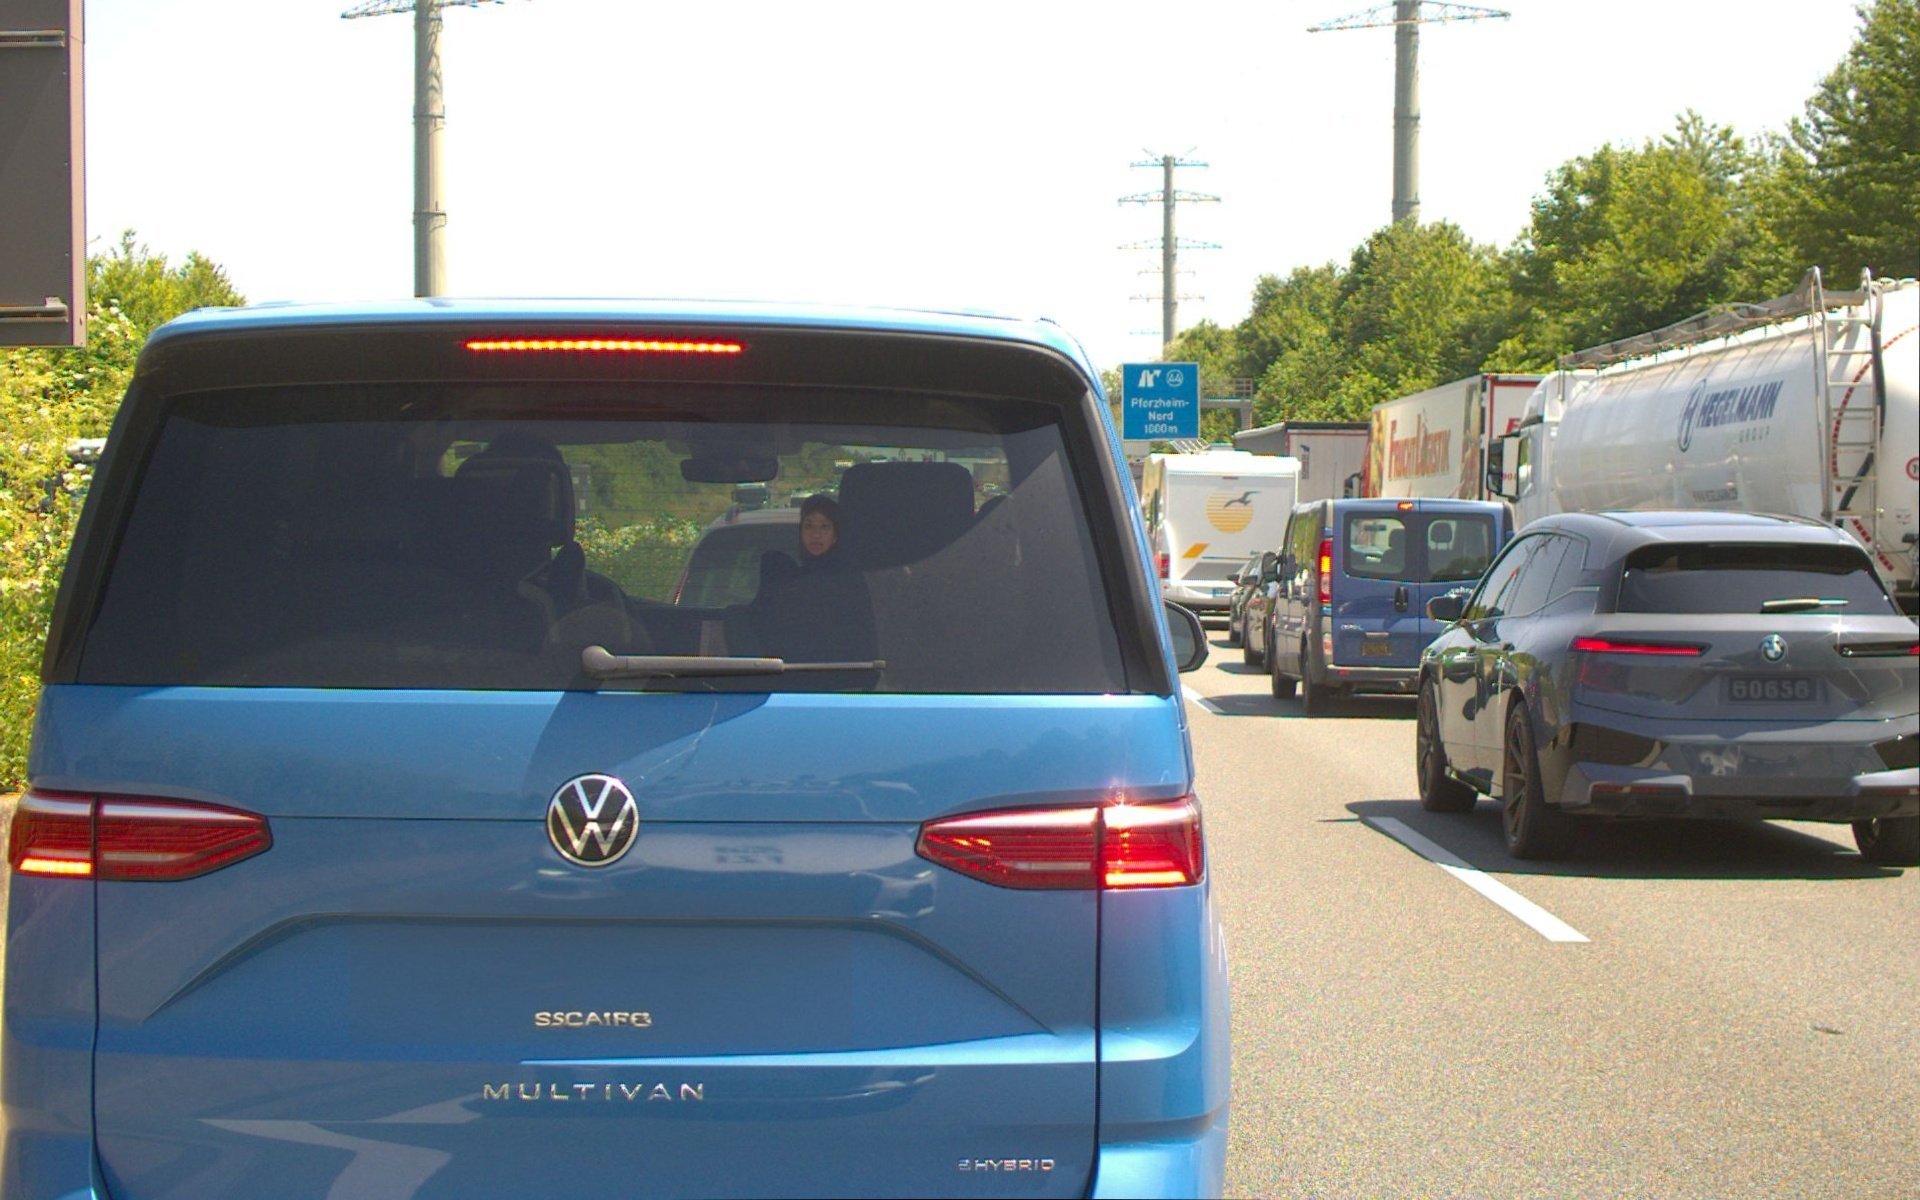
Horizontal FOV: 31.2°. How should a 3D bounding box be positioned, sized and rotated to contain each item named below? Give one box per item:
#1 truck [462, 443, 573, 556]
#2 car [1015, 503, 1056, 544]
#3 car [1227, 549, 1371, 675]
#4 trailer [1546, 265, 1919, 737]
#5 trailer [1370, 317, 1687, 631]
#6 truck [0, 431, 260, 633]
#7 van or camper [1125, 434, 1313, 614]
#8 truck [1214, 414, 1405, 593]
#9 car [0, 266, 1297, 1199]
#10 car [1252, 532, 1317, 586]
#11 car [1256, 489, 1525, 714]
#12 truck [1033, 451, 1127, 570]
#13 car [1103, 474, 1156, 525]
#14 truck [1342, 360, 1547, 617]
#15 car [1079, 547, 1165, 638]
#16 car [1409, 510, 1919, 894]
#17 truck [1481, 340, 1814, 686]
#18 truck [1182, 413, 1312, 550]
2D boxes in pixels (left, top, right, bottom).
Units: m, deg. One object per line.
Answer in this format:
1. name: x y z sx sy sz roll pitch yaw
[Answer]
1. truck: -14.847 -3.347 115.795 3.071 3.697 5.463 0 1 -1
2. car: 3.971 -4.038 181.560 1.993 2.118 4.000 0 1 -1
3. car: 4.045 0.133 41.445 1.360 1.415 3.884 -1 0 1
4. trailer: 8.172 -0.897 33.696 2.761 3.831 11.487 0 1 -1
5. trailer: 8.800 -1.880 54.896 2.912 4.453 12.155 0 1 -1
6. truck: -15.304 -1.194 61.928 2.765 3.277 11.819 0 1 1
7. van or camper: 4.505 -1.315 61.200 2.957 3.011 7.102 0 1 1
8. truck: 7.931 -2.107 80.189 3.006 3.753 15.713 0 1 1
9. car: -0.527 0.464 6.663 1.920 1.880 4.000 1 1 0
10. car: 12.129 -1.526 128.560 1.993 2.007 4.000 0 1 -1
11. car: 3.925 0.005 32.010 1.923 1.919 4.236 -1 0 0
12. truck: 3.929 -2.902 114.415 2.895 3.753 10.140 0 1 1
13. car: 6.956 -4.129 141.399 1.993 2.007 4.000 0 1 0
14. truck: 8.701 -1.973 62.294 2.912 4.453 5.143 0 1 -1
15. car: 3.670 -0.169 78.460 1.836 1.991 4.000 -1 0 1
16. car: 3.601 0.449 17.722 1.999 1.709 4.625 0 0 1
17. truck: 8.062 -1.009 40.994 2.793 3.823 5.572 0 1 -1
18. truck: 8.446 -3.407 102.699 2.895 3.753 13.345 0 1 1
